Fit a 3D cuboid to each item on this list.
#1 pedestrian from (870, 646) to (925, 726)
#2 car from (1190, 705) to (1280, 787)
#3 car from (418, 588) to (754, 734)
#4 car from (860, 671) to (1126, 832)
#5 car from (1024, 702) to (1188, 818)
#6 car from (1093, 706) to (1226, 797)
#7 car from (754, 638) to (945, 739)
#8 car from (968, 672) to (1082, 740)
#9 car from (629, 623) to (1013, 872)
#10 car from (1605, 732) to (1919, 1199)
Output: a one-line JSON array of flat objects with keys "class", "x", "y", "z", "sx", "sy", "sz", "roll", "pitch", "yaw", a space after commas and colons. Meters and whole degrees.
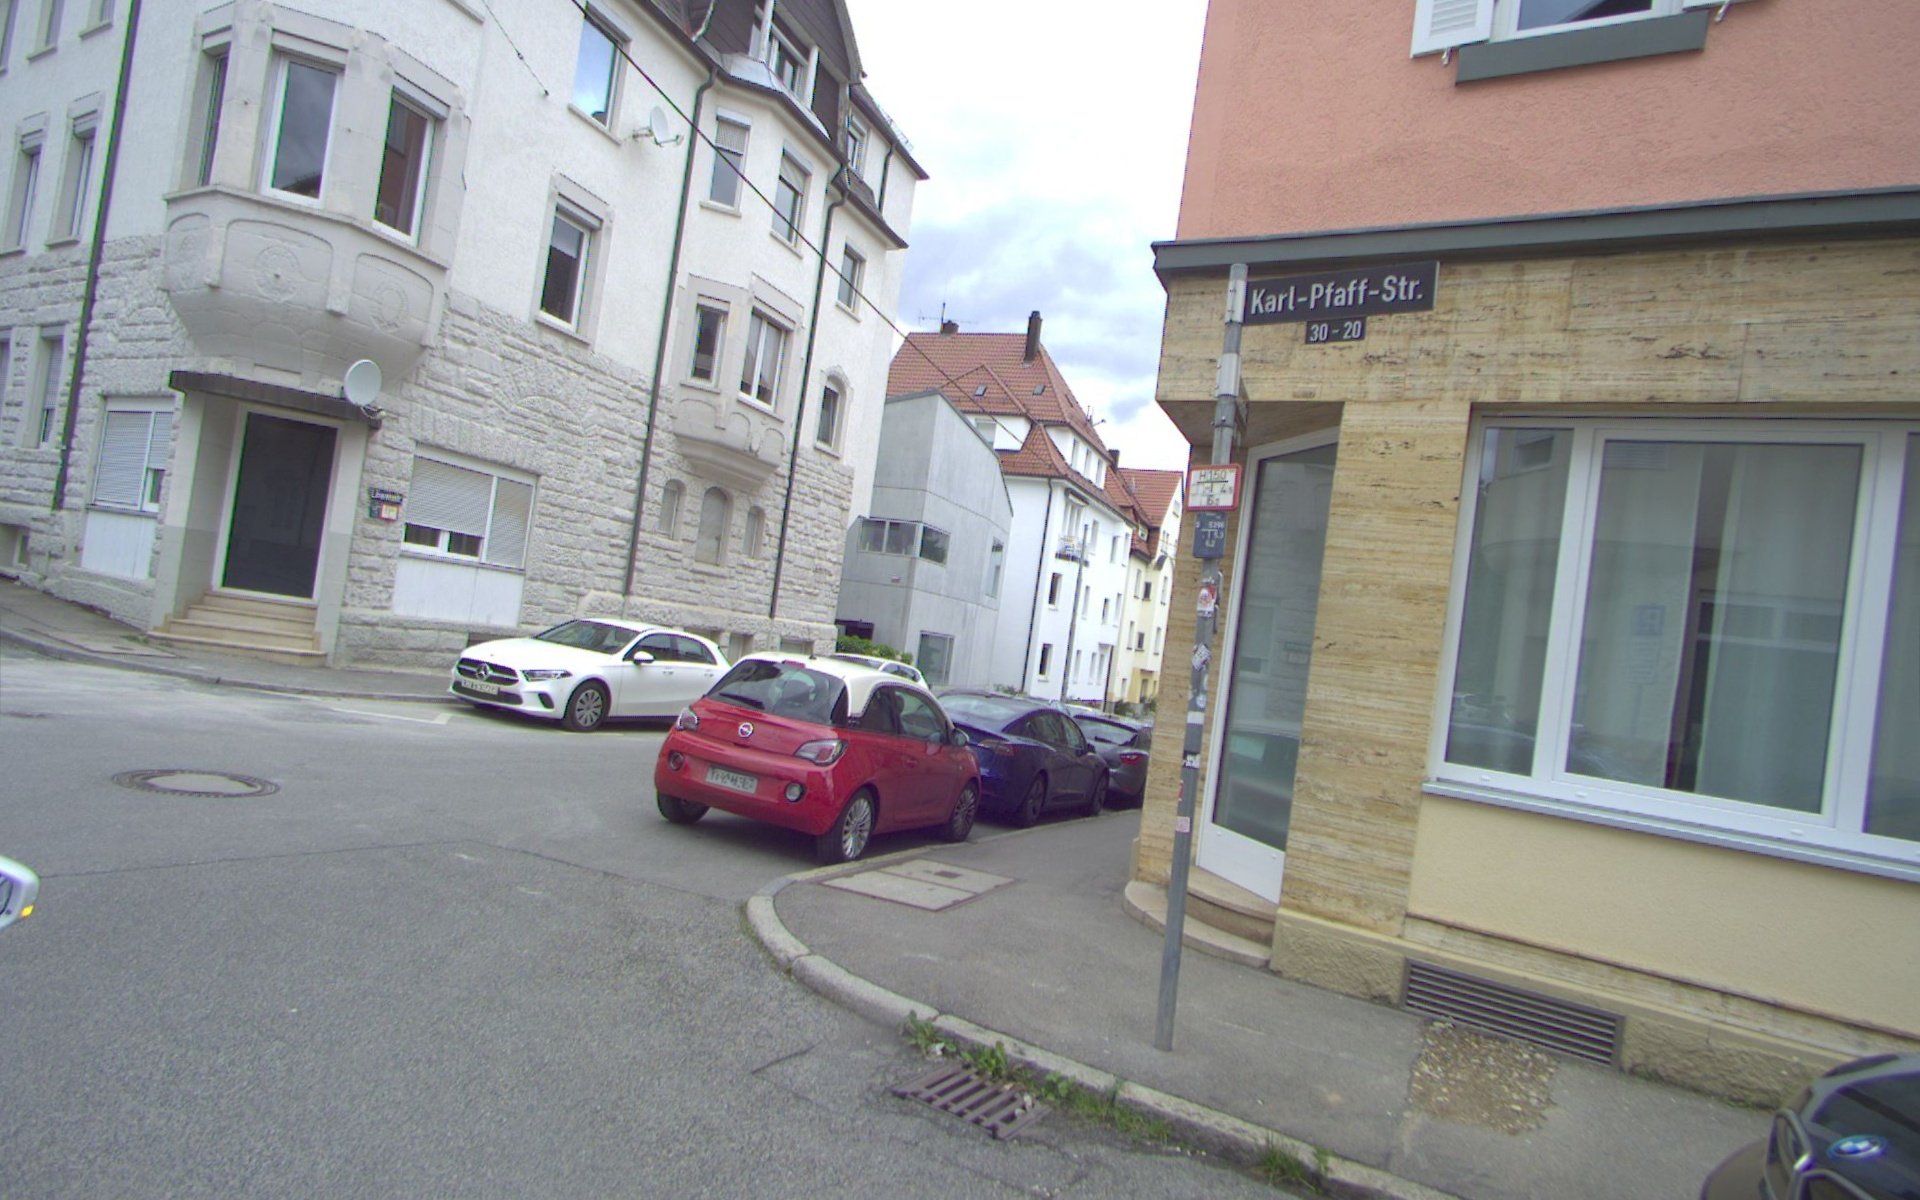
[{"class": "pedestrian", "x": -1.616, "y": 2.211, "z": 25.951, "sx": 0.843, "sy": 1.904, "sz": 0.809, "roll": 12, "pitch": -5, "yaw": -43}, {"class": "car", "x": 9.007, "y": 4.702, "z": 32.566, "sx": 1.877, "sy": 2.050, "sz": 5.743, "roll": 9, "pitch": -4, "yaw": 23}, {"class": "car", "x": -4.770, "y": 0.942, "z": 13.570, "sx": 1.673, "sy": 1.428, "sz": 4.248, "roll": 8, "pitch": -4, "yaw": 22}, {"class": "car", "x": 0.641, "y": 1.928, "z": 13.086, "sx": 1.825, "sy": 1.417, "sz": 4.299, "roll": 9, "pitch": -4, "yaw": 24}, {"class": "car", "x": 2.657, "y": 2.700, "z": 17.415, "sx": 1.824, "sy": 1.417, "sz": 3.974, "roll": 10, "pitch": -4, "yaw": 21}, {"class": "car", "x": 4.441, "y": 3.286, "z": 21.797, "sx": 1.825, "sy": 1.417, "sz": 4.585, "roll": 9, "pitch": -5, "yaw": 23}, {"class": "car", "x": -2.039, "y": 1.842, "z": 19.967, "sx": 1.817, "sy": 1.531, "sz": 4.248, "roll": 8, "pitch": -4, "yaw": 22}, {"class": "car", "x": 2.003, "y": 3.163, "z": 29.436, "sx": 1.867, "sy": 1.542, "sz": 4.479, "roll": 8, "pitch": -4, "yaw": 22}, {"class": "car", "x": -0.954, "y": 1.241, "z": 8.869, "sx": 1.642, "sy": 1.494, "sz": 3.633, "roll": 8, "pitch": -4, "yaw": 21}, {"class": "car", "x": 3.225, "y": 1.266, "z": 1.120, "sx": 3.957, "sy": 1.559, "sz": 1.825, "roll": 7, "pitch": -4, "yaw": 28}]
